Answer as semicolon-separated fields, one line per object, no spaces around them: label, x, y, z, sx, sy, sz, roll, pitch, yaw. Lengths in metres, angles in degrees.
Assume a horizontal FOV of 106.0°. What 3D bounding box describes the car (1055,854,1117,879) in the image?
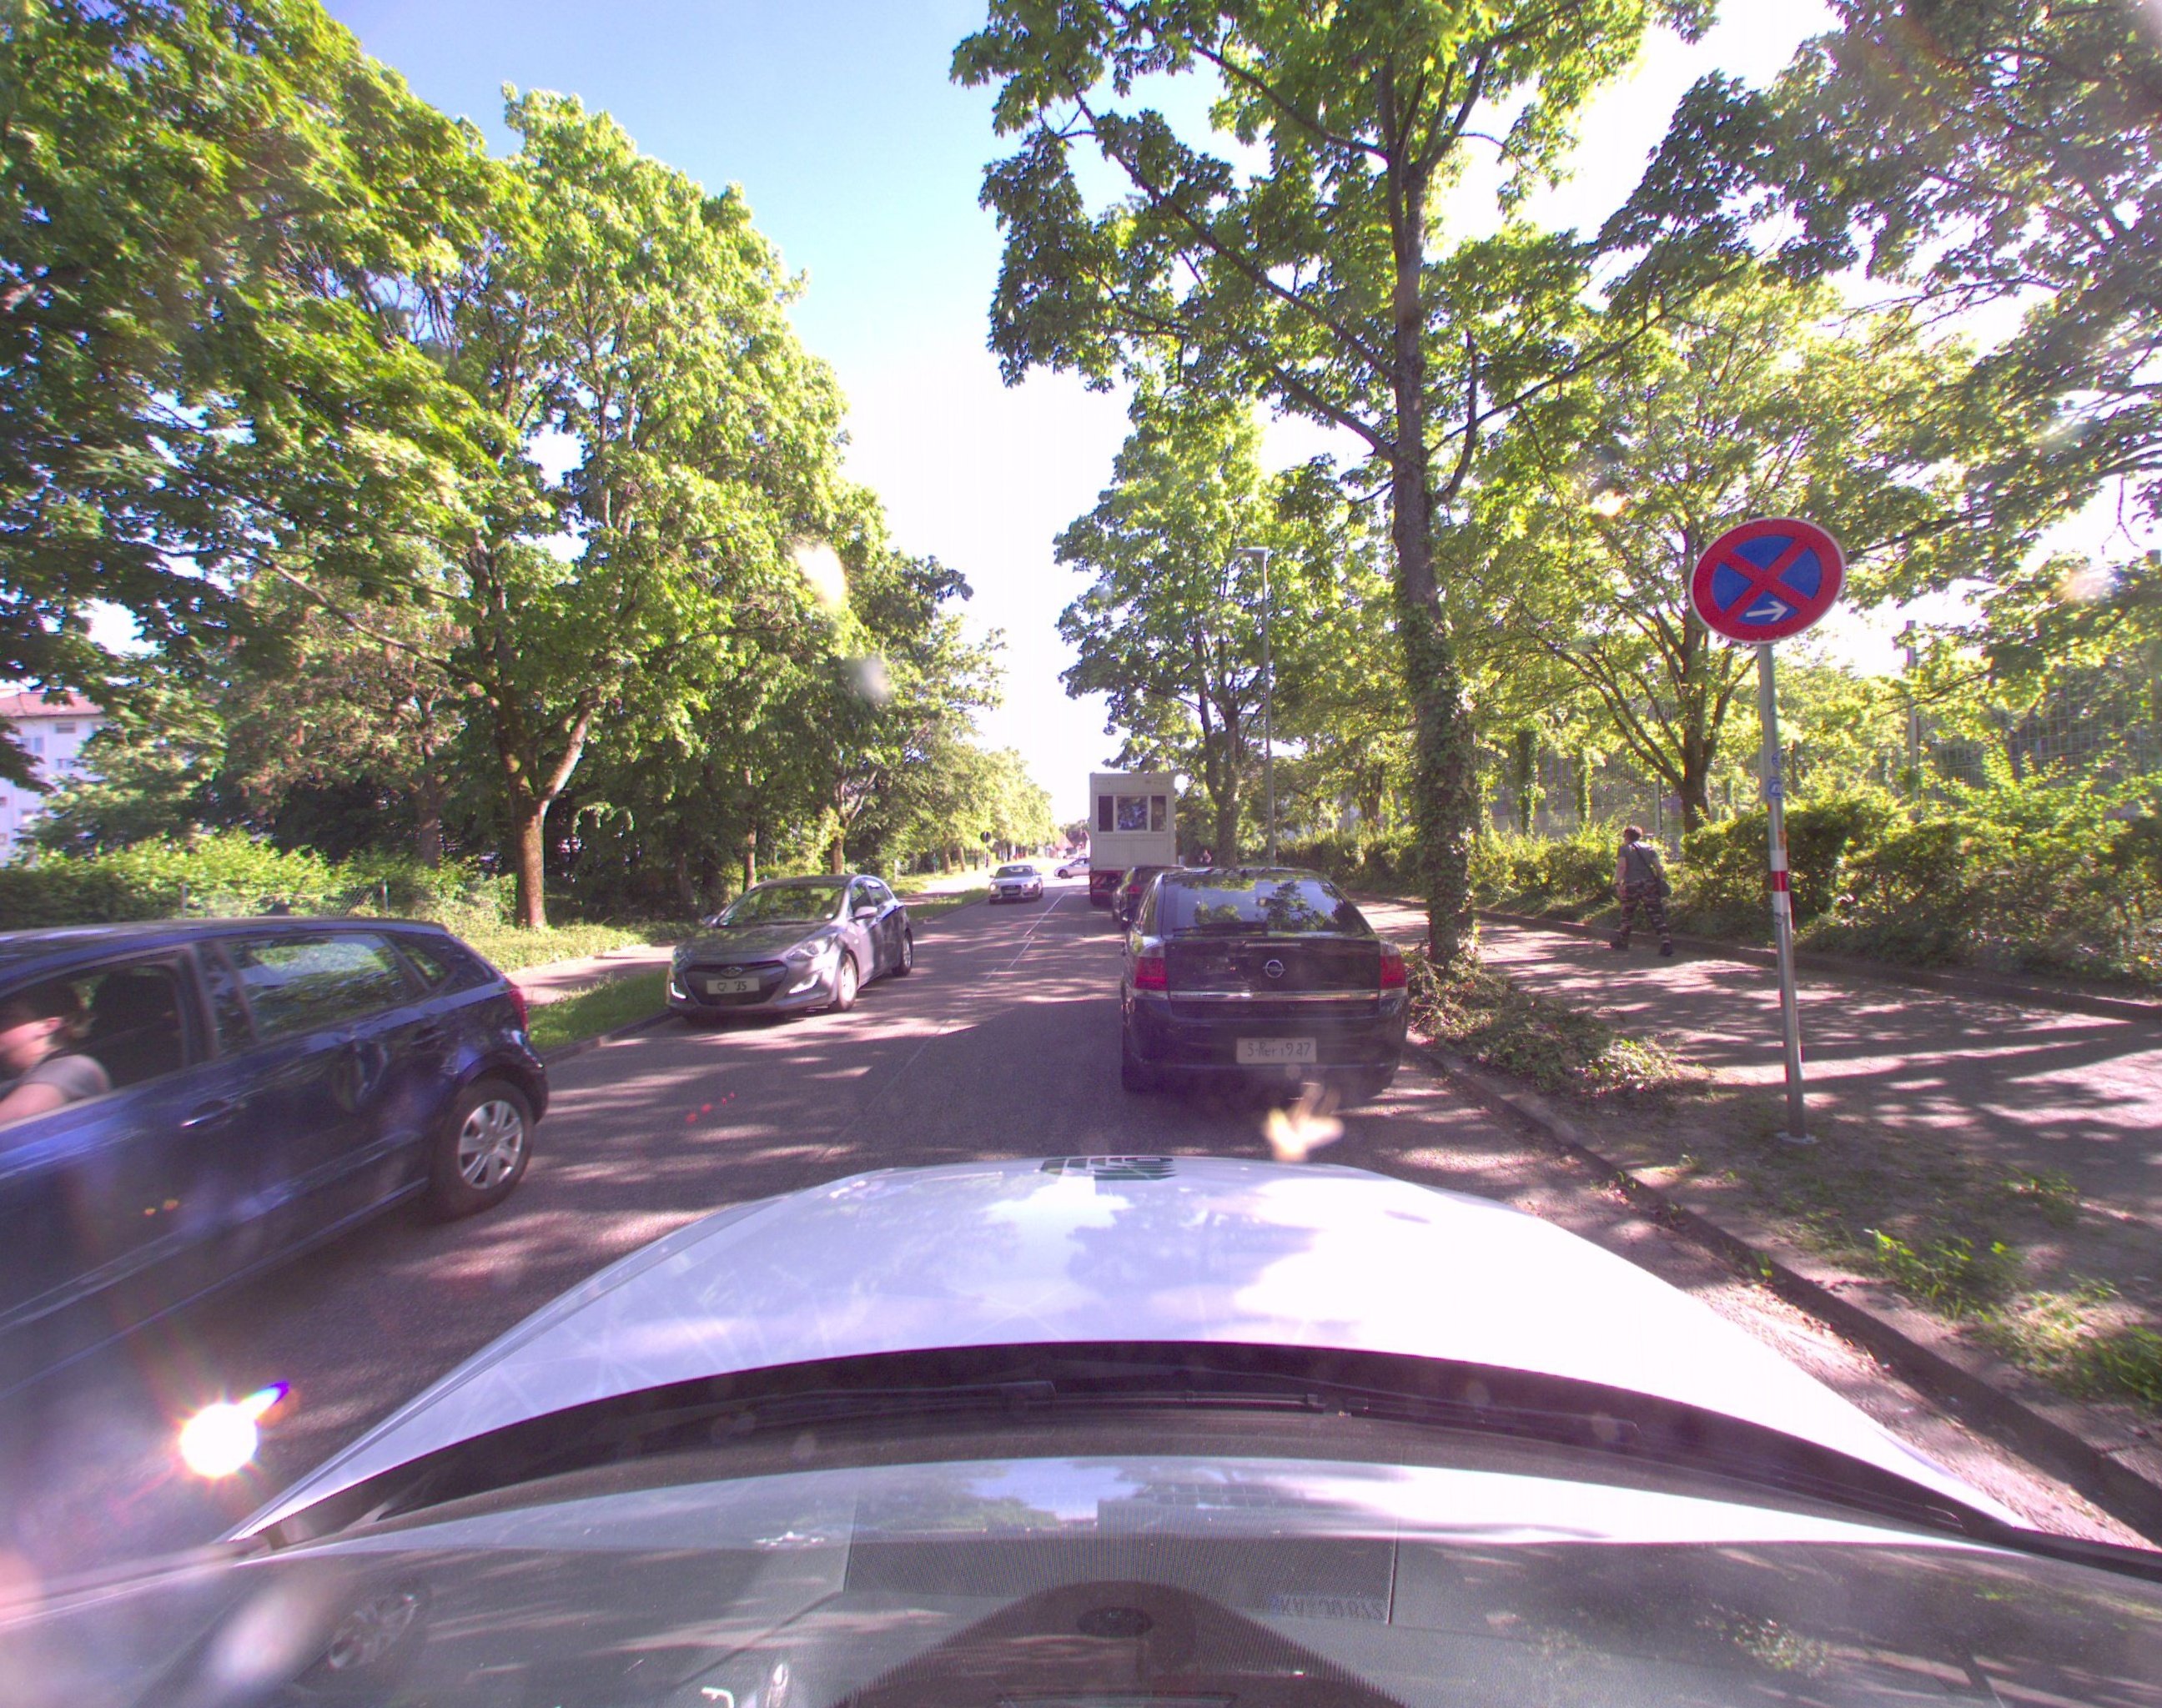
car;0.371;0.870;56.791;3.917;1.420;1.819;-4;0;15

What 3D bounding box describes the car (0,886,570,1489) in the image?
car;-3.553;0.934;2.415;1.595;1.426;3.654;-3;0;2

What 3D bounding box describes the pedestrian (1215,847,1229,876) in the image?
pedestrian;9.118;0.467;52.621;0.696;1.812;0.699;-3;0;-2

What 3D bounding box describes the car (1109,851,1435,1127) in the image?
car;1.141;0.758;6.457;1.741;1.480;4.033;-1;-1;3

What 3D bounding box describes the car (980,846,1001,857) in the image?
car;-19.076;-0.478;172.186;3.971;2.013;2.001;-4;0;2

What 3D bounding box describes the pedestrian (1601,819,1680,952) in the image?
pedestrian;6.988;0.383;10.197;0.568;1.608;0.673;-1;0;10

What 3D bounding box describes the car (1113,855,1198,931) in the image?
car;1.622;0.784;18.411;1.633;1.420;4.004;-3;0;3

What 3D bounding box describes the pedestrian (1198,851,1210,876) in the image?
pedestrian;7.938;0.621;52.572;0.597;1.611;0.600;-3;0;-2

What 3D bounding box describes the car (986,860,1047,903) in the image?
car;-2.407;0.997;31.328;1.779;1.416;4.107;-3;0;2

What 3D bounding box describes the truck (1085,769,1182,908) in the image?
truck;1.583;-0.459;28.665;2.763;3.996;10.348;0;0;1

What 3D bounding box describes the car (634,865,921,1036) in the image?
car;-3.316;0.950;9.891;1.749;1.454;4.244;-3;0;1

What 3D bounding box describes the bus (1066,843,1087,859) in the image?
bus;-0.985;-0.623;183.638;4.048;3.349;9.809;-3;0;3
